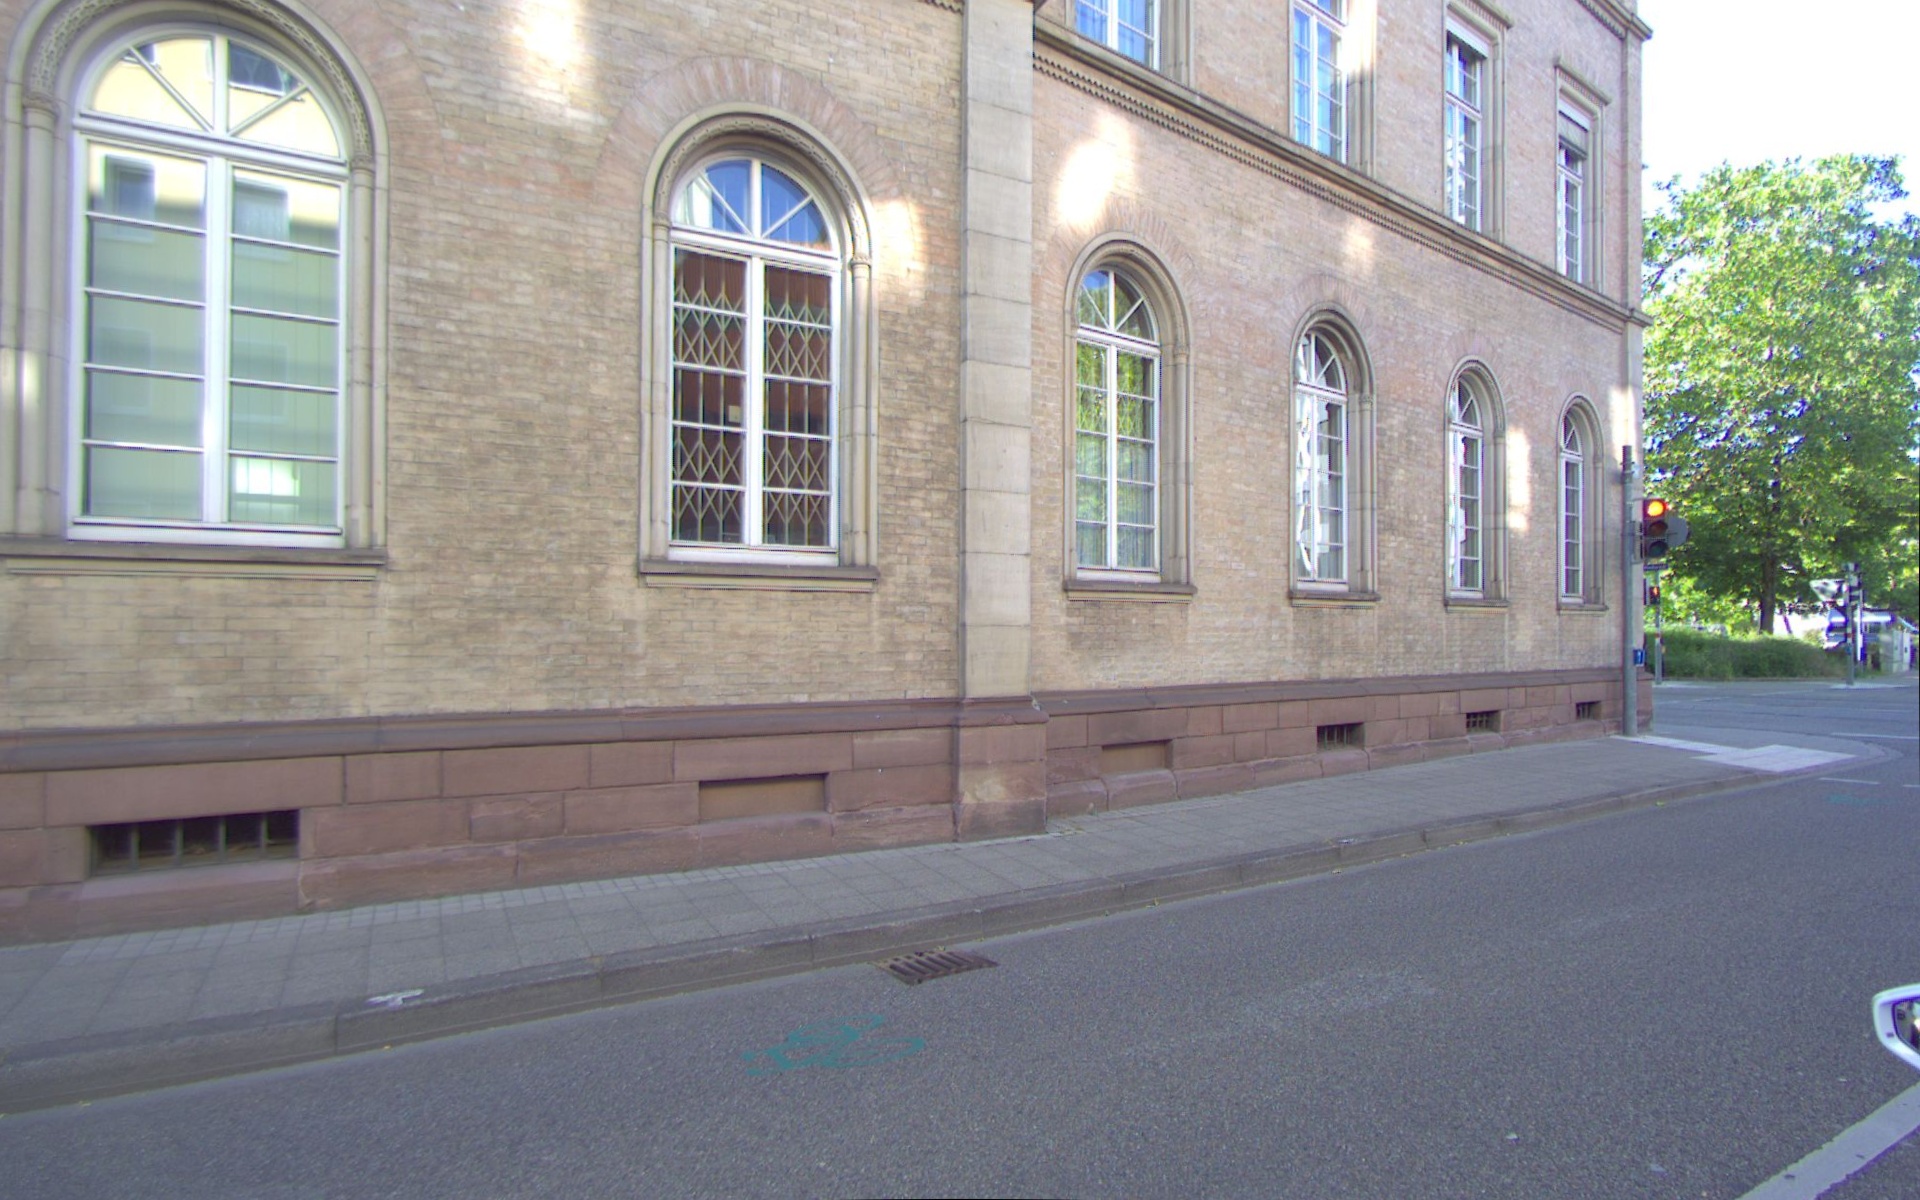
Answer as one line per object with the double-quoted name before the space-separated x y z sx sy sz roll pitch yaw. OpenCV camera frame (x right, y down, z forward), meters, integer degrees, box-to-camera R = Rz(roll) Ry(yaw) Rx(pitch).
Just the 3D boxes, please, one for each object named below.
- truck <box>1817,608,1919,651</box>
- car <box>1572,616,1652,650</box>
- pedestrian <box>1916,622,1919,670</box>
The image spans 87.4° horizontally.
"truck" 53.748 1.671 59.065 2.069 2.431 4.790 1 -1 -39
"car" 47.822 2.470 73.719 2.056 2.423 4.521 2 -3 -38
"pedestrian" 35.296 1.671 36.496 0.947 1.745 0.697 2 -3 -40
